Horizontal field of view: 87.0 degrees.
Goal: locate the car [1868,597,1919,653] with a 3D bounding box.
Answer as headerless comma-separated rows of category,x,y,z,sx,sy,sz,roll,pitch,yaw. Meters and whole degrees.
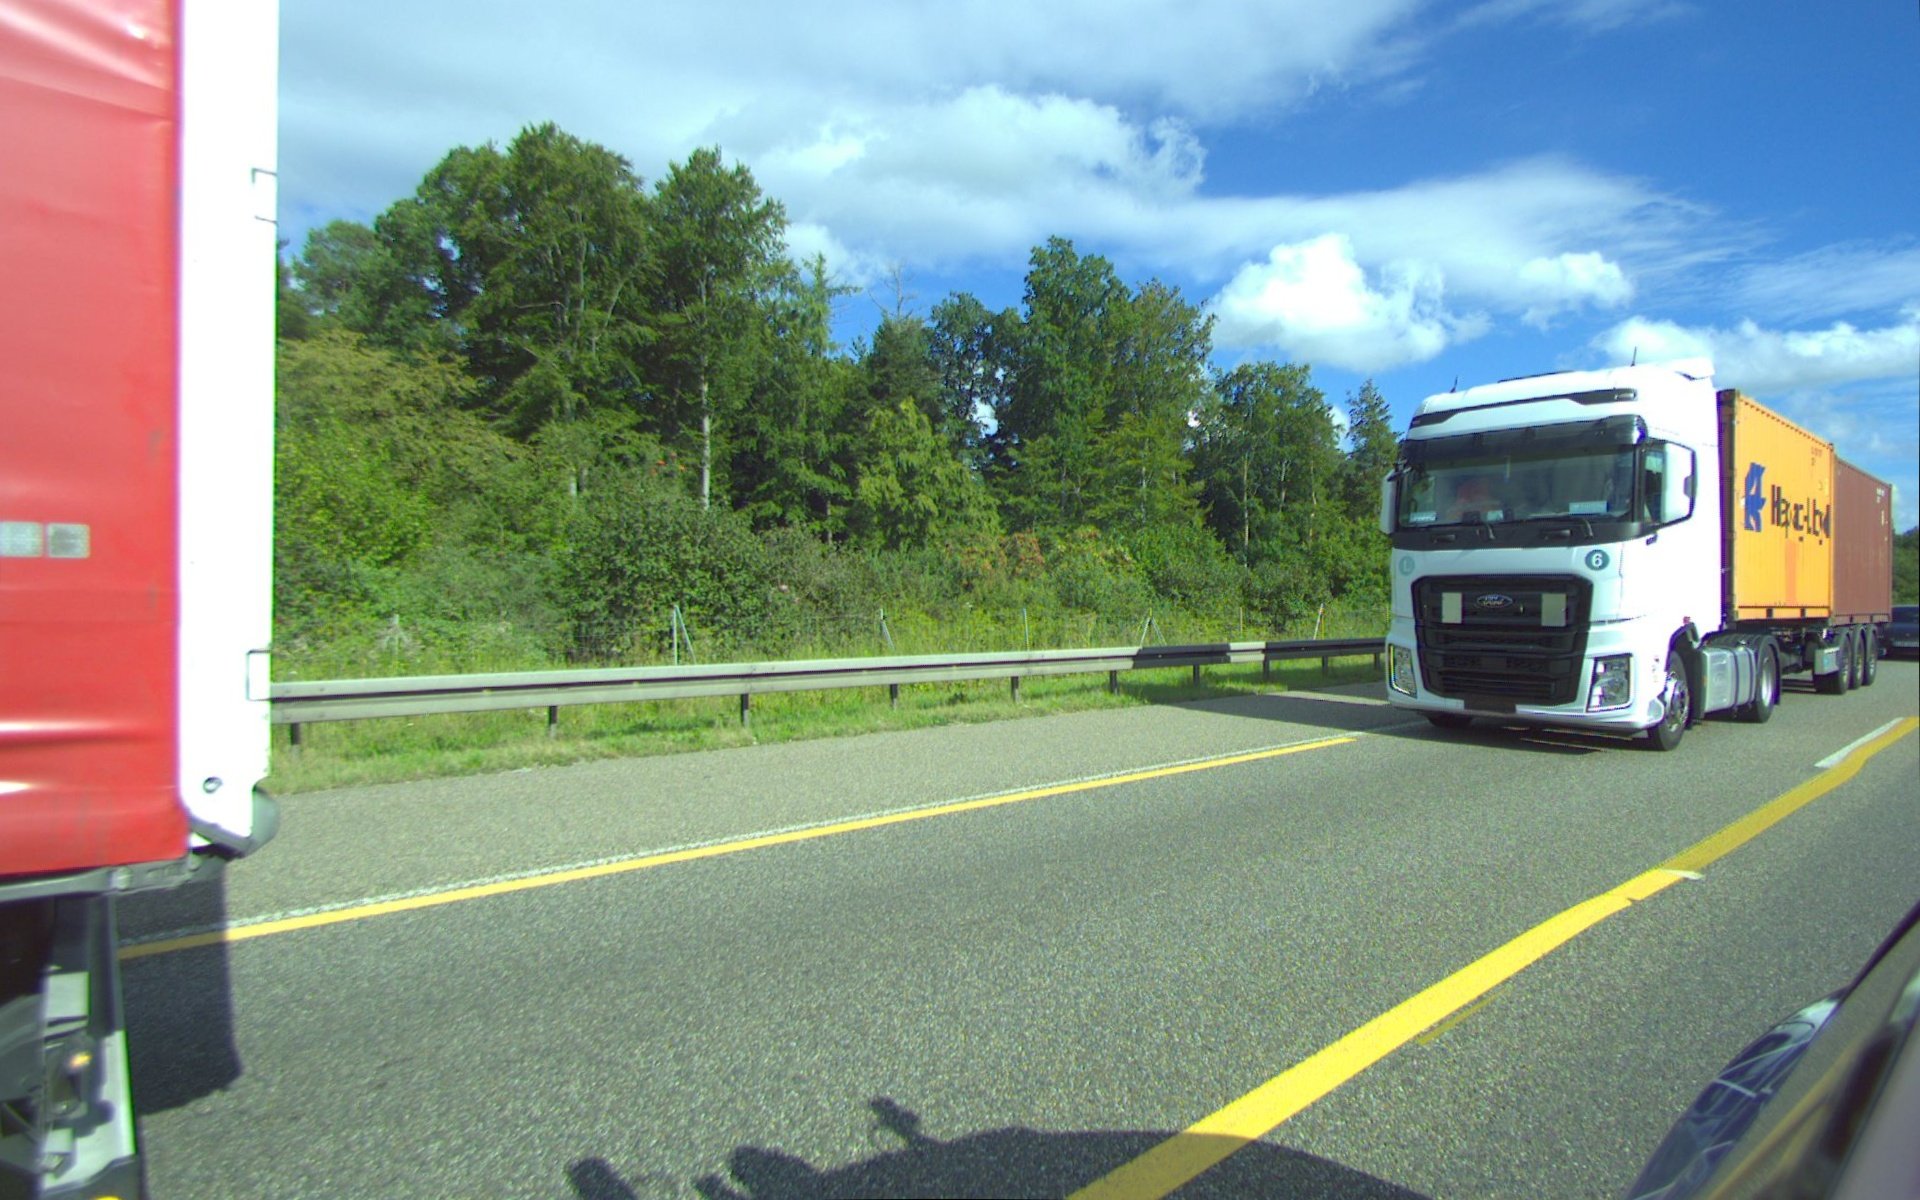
car,25.284,0.623,26.326,4.398,1.367,1.932,0,1,-41

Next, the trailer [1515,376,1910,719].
trailer,12.546,-0.606,16.109,11.922,3.822,2.476,0,0,-41

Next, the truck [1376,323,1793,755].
truck,7.447,-0.570,11.774,5.687,3.828,2.499,0,0,-40
